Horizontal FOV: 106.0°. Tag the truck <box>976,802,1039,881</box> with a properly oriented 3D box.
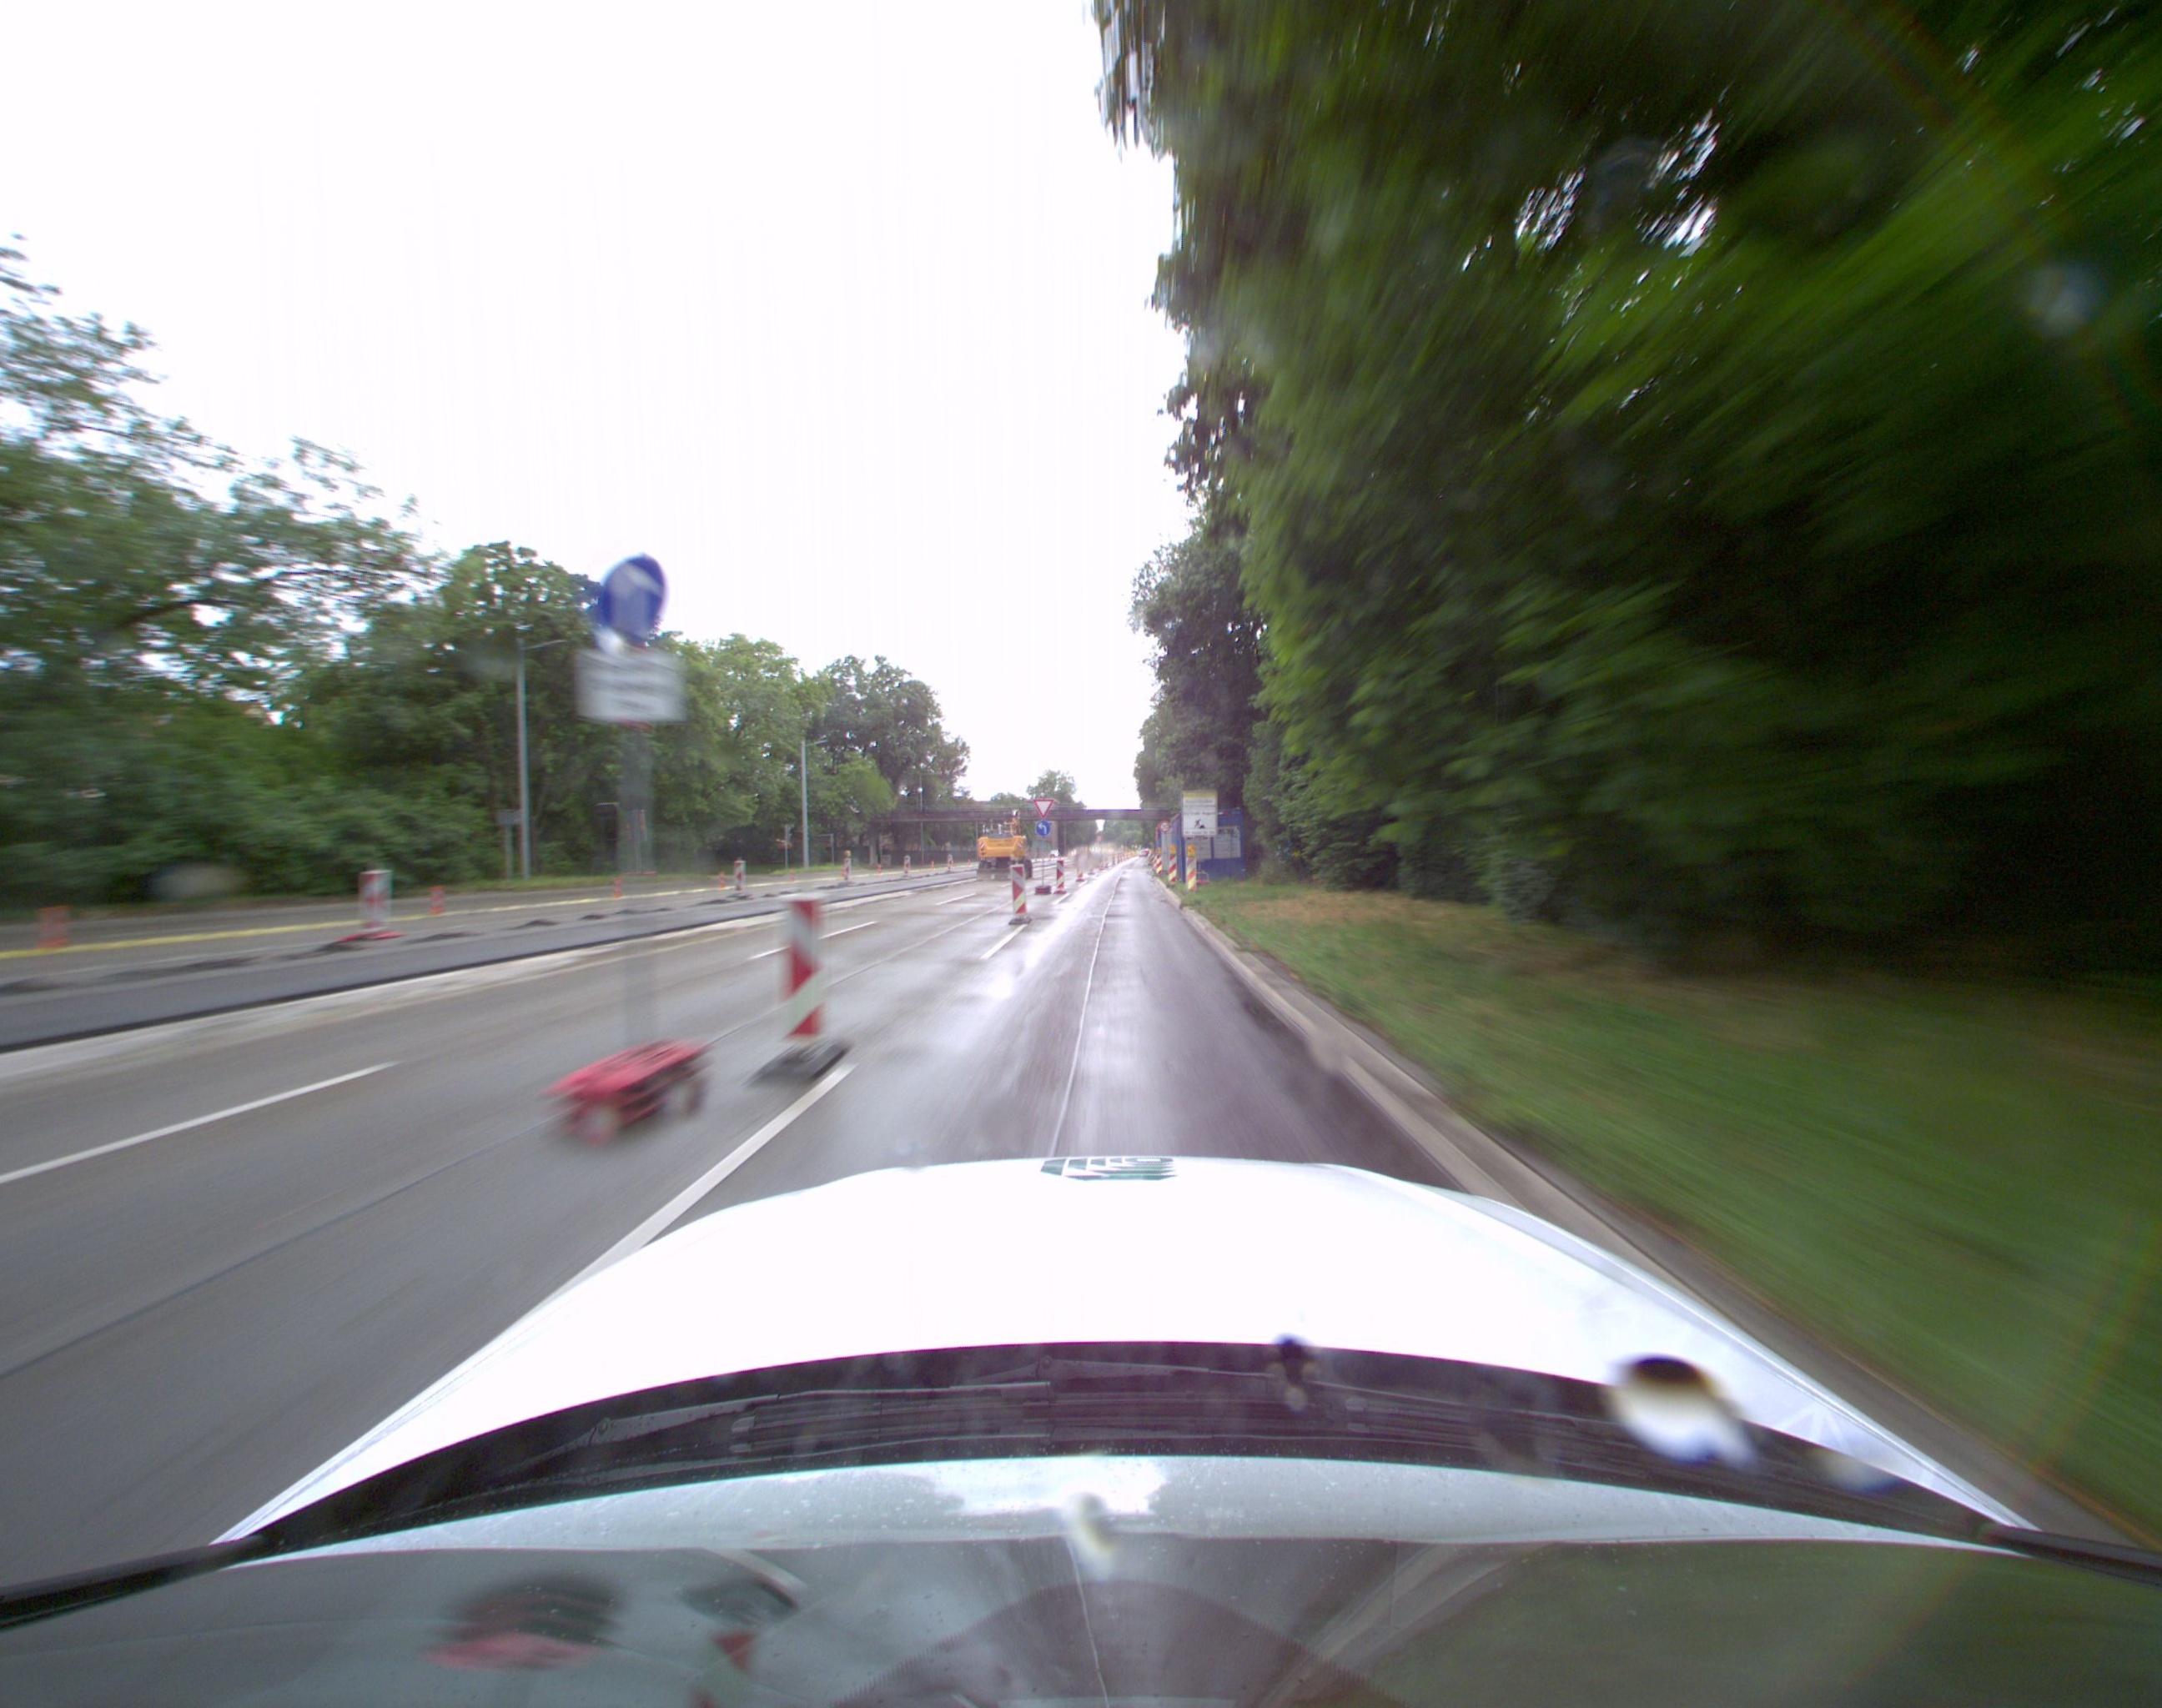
[{"bbox_3d":[-4.283,-0.682,49.692,2.888,4.259,10.753,0,0,0],"label":"truck"}]

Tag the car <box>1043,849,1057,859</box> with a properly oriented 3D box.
[{"bbox_3d":[-6.019,0.077,157.023,1.961,1.806,4.615,-2,0,5],"label":"car"}]

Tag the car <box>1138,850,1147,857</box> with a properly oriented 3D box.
[{"bbox_3d":[13.937,-0.094,183.803,1.984,1.640,4.005,-2,0,4],"label":"car"}]
